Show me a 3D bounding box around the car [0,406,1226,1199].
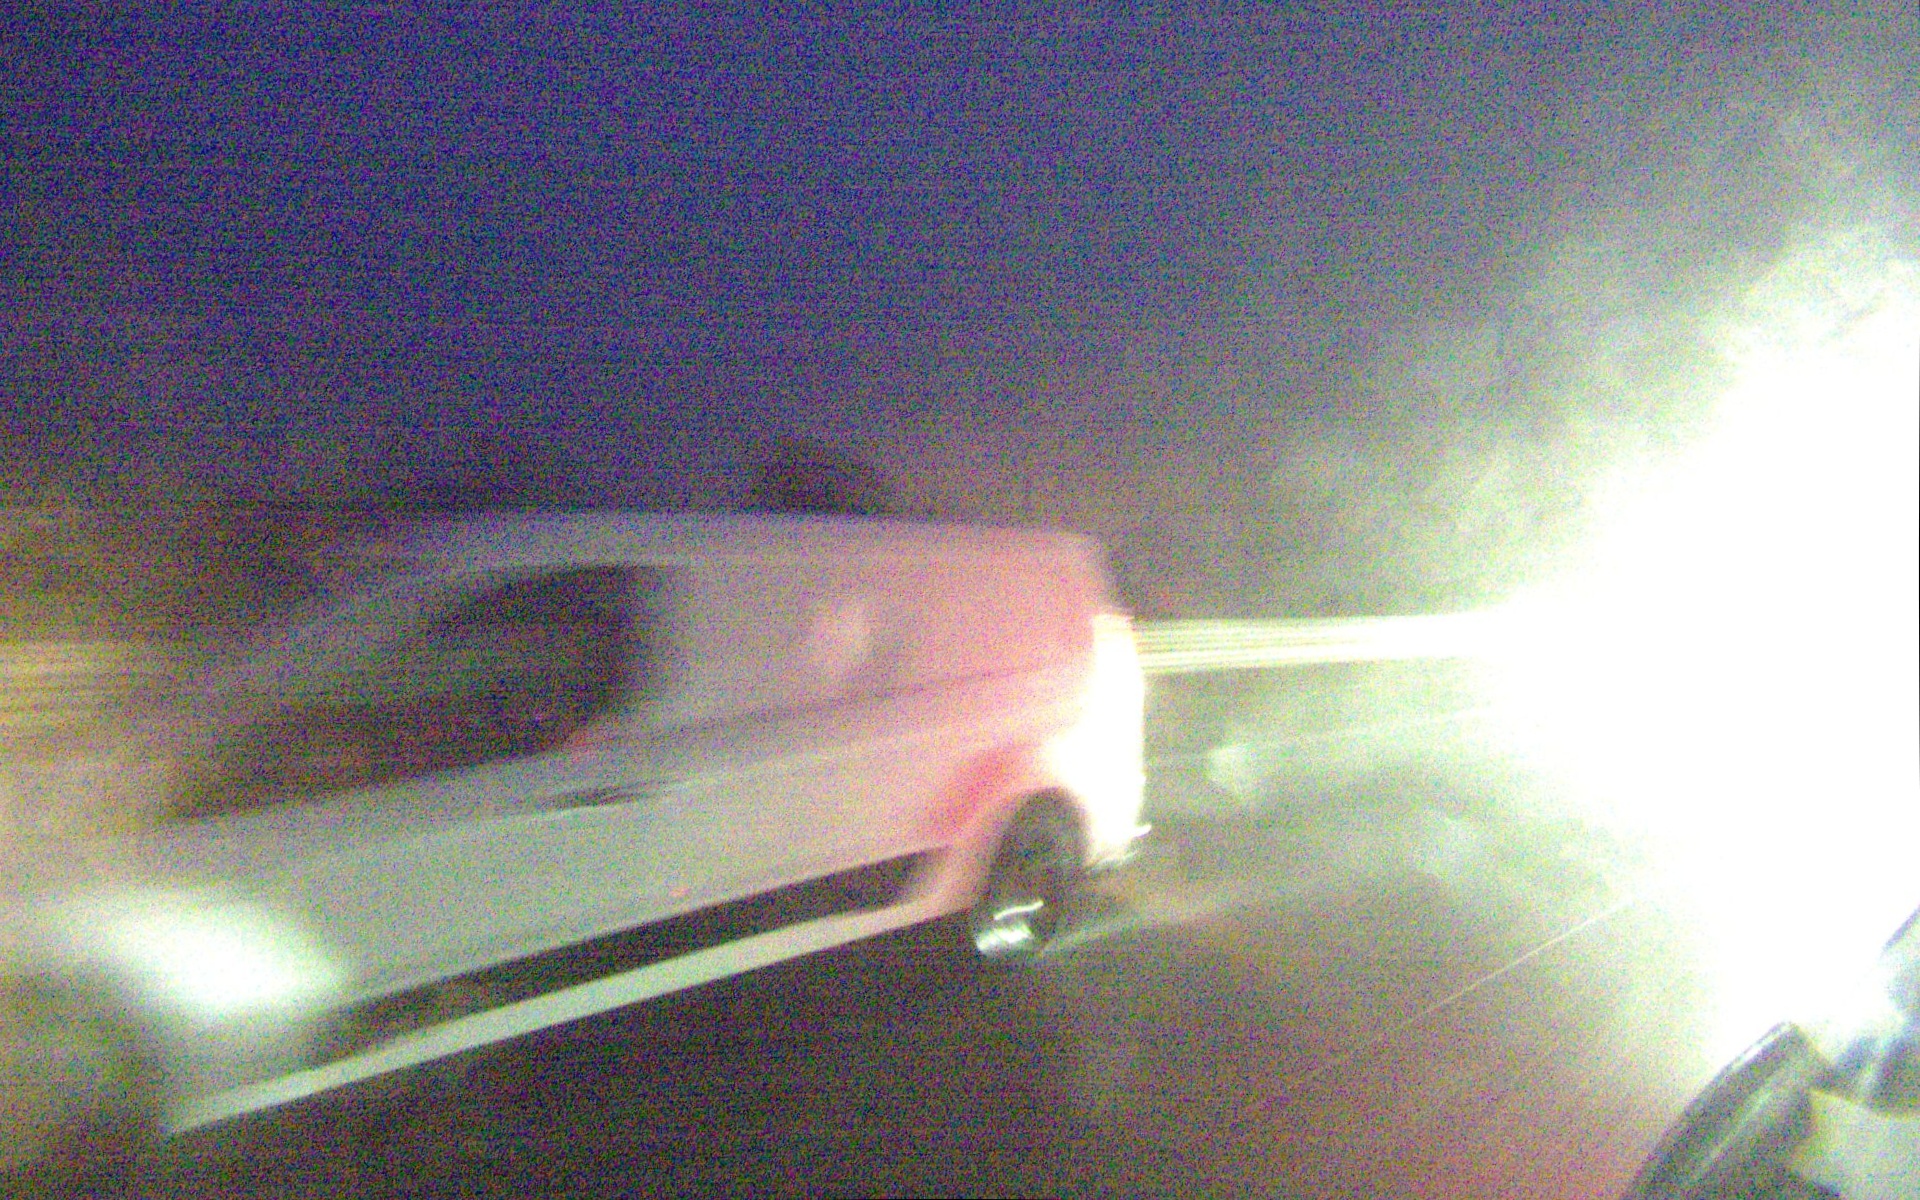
[{"bbox_3d":[-1.325,0.499,3.830,5.033,1.815,1.957,-1,0,-40],"label":"car"}]
